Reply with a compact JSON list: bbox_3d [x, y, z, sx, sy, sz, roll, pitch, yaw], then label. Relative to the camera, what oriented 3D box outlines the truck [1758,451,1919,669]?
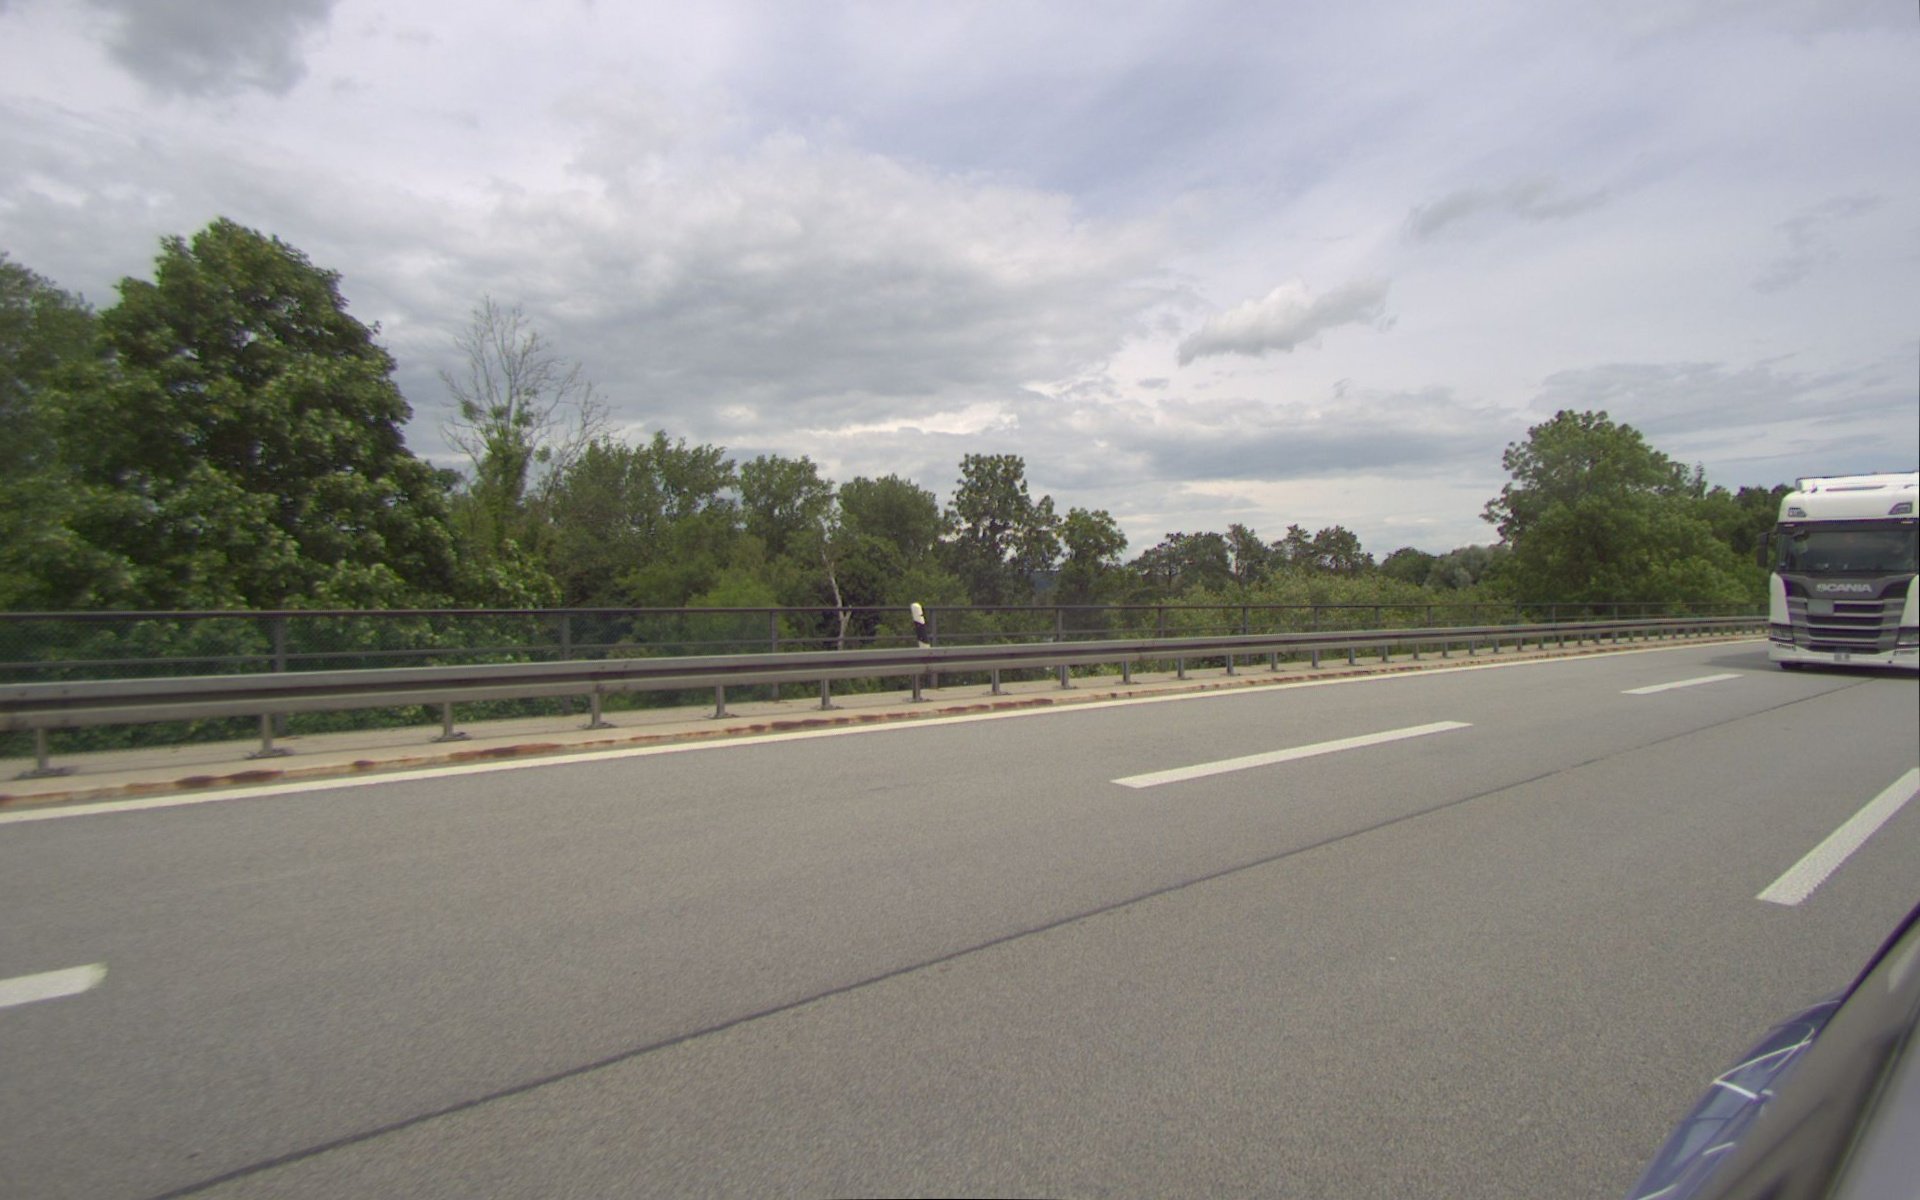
[{"bbox_3d":[19.125,-0.735,20.894,5.894,3.941,3.068,0,0,-41],"label":"truck"}]

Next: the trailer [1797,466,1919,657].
[{"bbox_3d":[24.632,-0.783,25.610,13.547,3.940,3.068,0,0,-41],"label":"trailer"}]
